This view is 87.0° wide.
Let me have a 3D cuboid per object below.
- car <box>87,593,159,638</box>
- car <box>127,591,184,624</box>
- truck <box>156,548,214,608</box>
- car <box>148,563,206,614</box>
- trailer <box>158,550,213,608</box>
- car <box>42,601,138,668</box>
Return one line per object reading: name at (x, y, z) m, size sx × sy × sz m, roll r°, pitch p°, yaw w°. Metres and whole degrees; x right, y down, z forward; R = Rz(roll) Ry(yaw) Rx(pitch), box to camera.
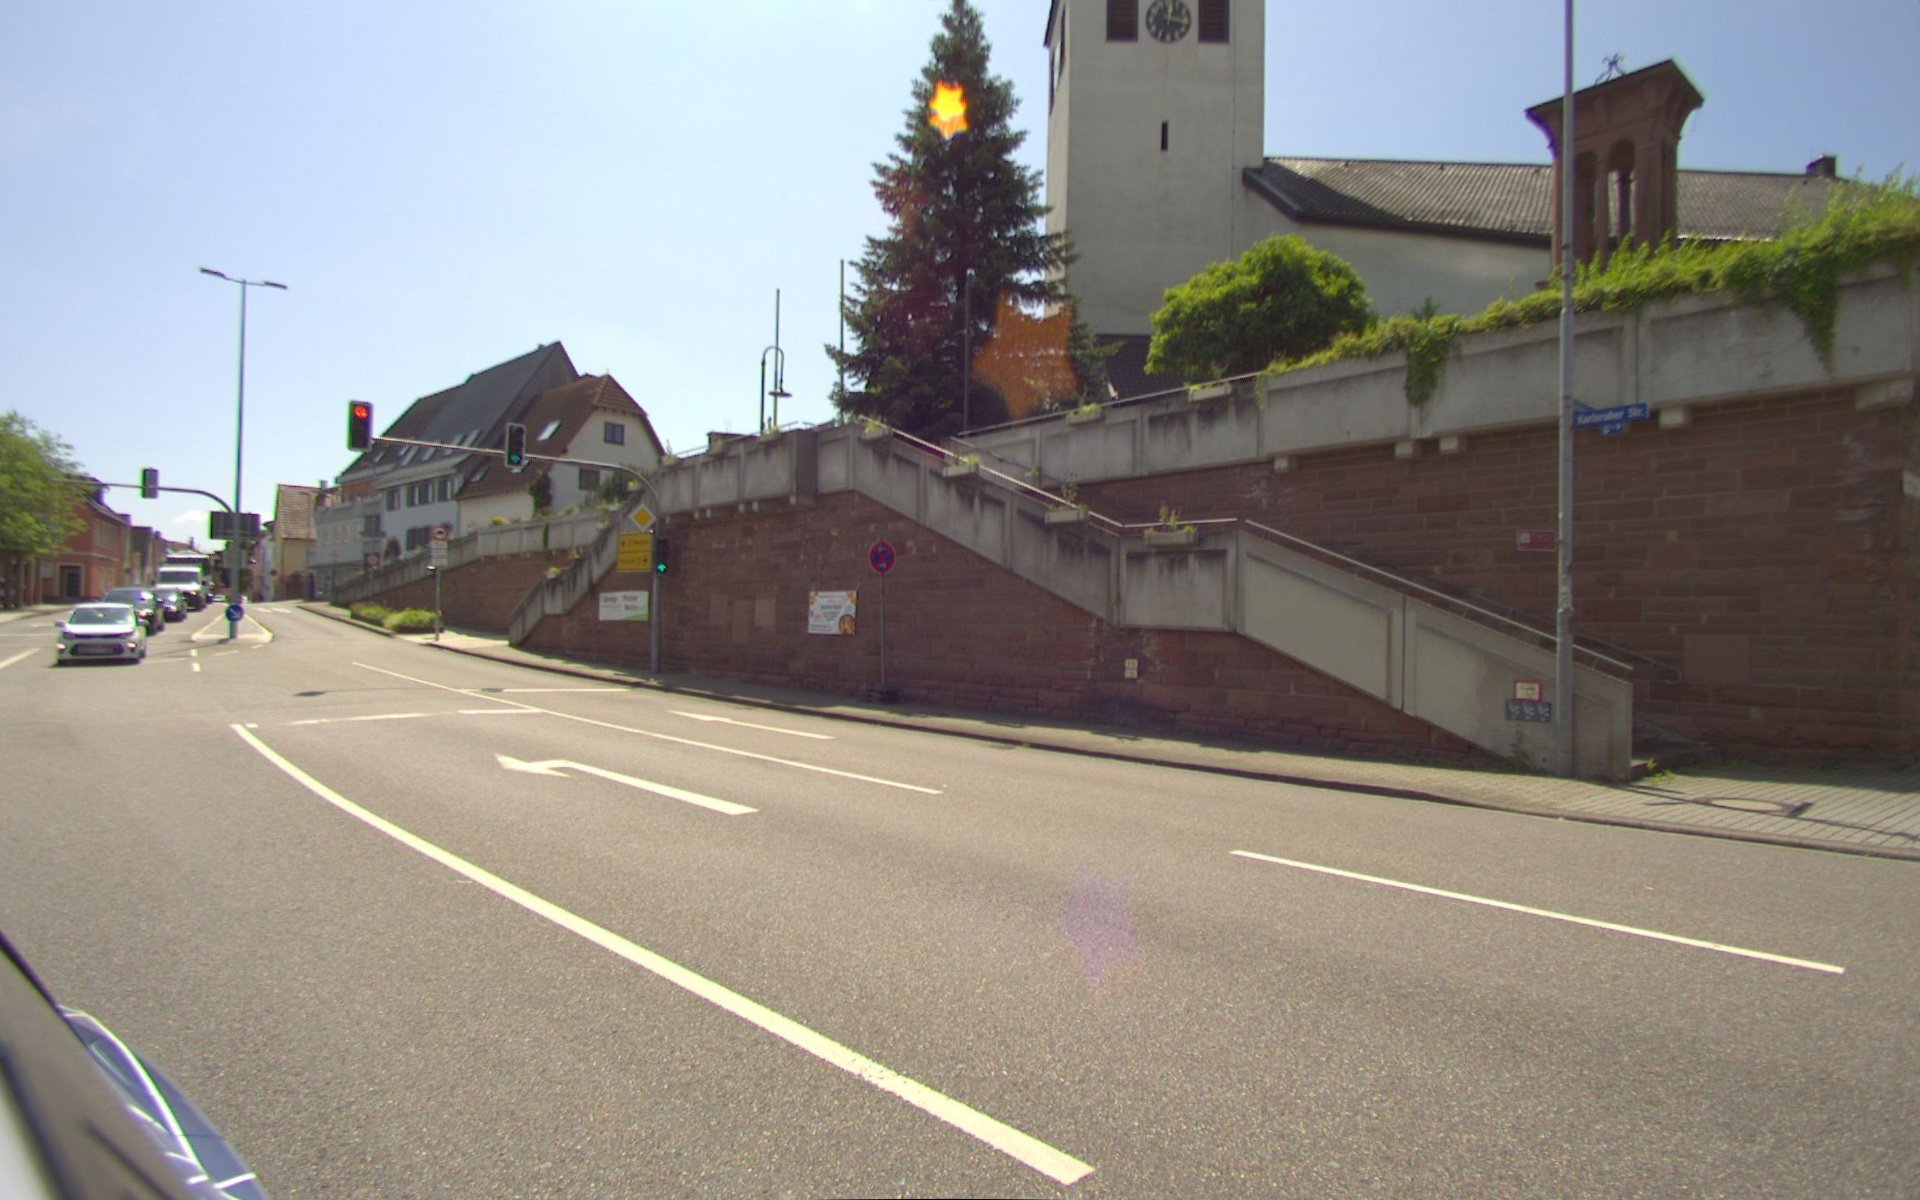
car at (-31.414, 0.548, 38.074) m, size 1.697 × 1.562 × 4.314 m, roll 0°, pitch 0°, yaw -35°
car at (-35.741, 0.326, 44.966) m, size 1.900 × 1.376 × 4.311 m, roll 0°, pitch 0°, yaw -39°
truck at (-49.484, -1.312, 64.657) m, size 2.804 × 3.597 × 5.480 m, roll 1°, pitch -2°, yaw -38°
car at (-41.888, -0.546, 54.223) m, size 2.140 × 2.583 × 4.837 m, roll 1°, pitch -2°, yaw -34°
trailer at (-53.479, -1.283, 69.904) m, size 2.794 × 3.597 × 10.988 m, roll 1°, pitch -2°, yaw -37°
car at (-22.148, 0.809, 25.891) m, size 1.698 × 1.562 × 4.311 m, roll 0°, pitch 0°, yaw -39°
